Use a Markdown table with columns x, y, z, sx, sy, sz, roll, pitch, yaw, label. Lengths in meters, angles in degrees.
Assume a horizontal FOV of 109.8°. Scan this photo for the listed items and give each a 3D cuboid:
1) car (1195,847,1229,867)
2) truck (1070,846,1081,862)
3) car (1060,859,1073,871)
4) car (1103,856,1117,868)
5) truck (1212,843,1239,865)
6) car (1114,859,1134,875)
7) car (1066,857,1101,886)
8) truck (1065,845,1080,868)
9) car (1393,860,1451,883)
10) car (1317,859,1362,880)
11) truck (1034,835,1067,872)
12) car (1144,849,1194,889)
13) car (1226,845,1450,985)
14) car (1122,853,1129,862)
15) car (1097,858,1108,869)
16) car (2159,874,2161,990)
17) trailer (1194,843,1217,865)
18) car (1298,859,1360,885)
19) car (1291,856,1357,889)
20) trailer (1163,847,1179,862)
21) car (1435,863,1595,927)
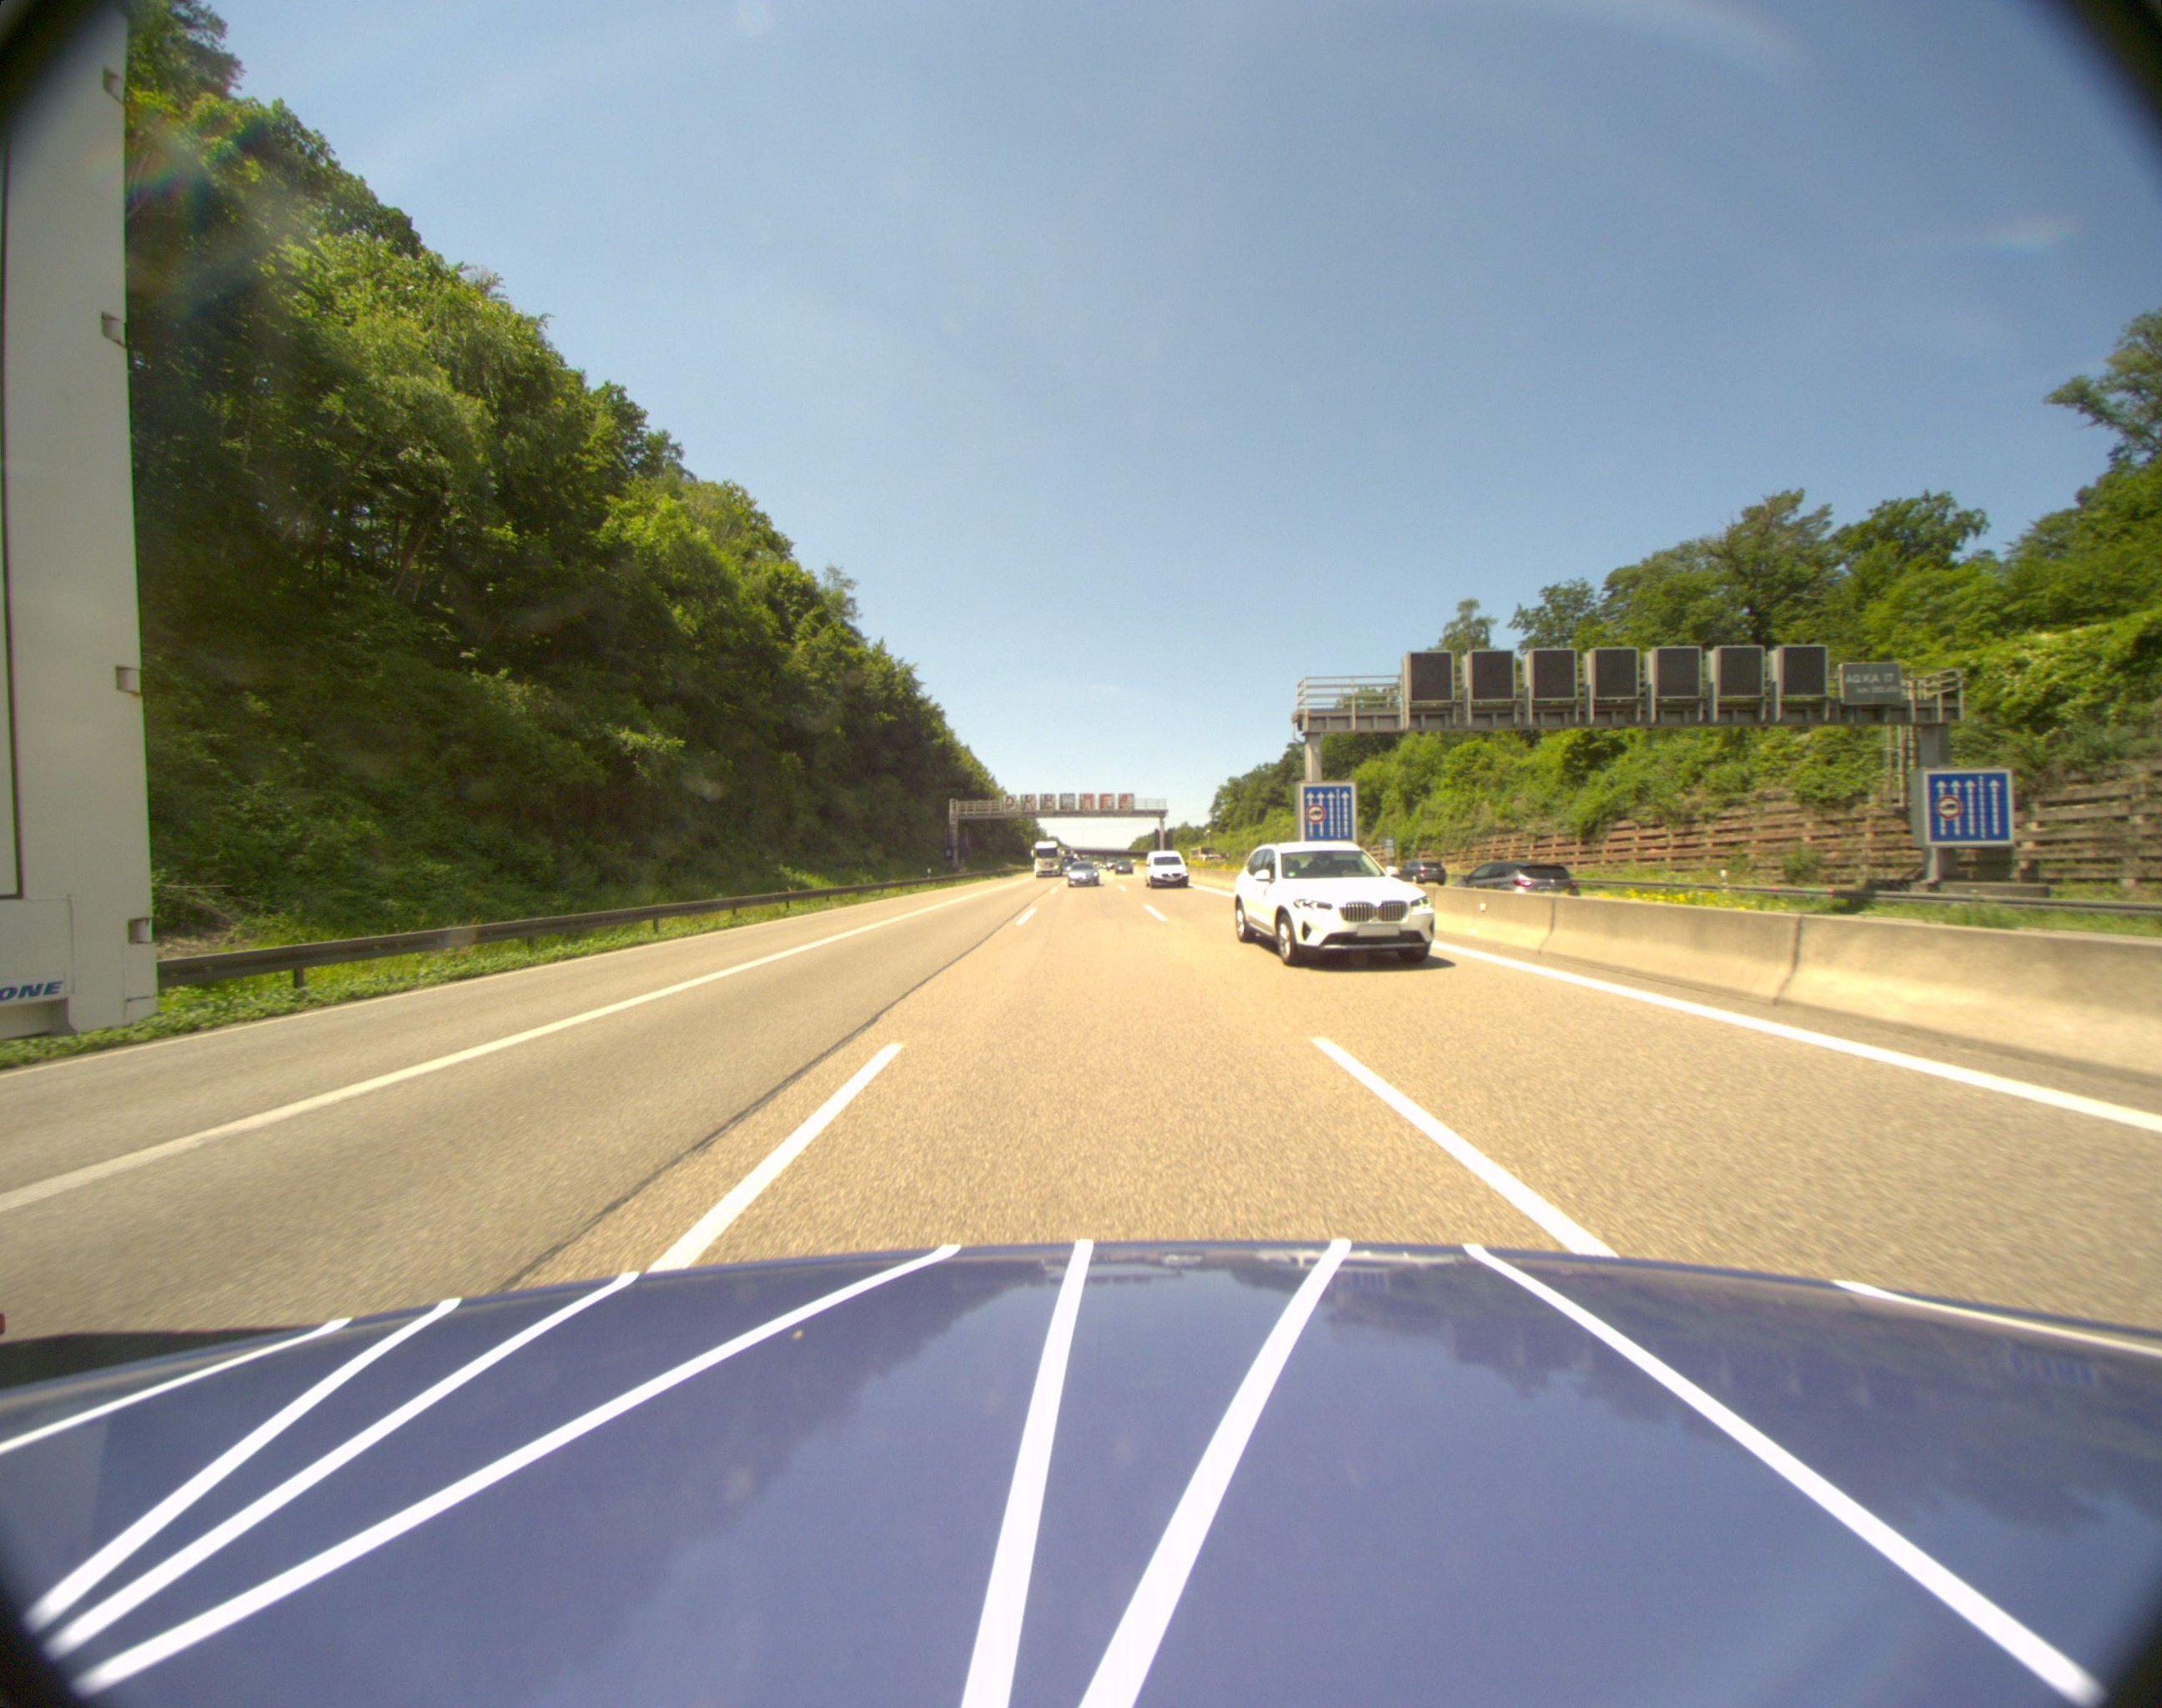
| x | y | z | sx | sy | sz | roll | pitch | yaw | label |
| --- | --- | --- | --- | --- | --- | --- | --- | --- | --- |
| 11.891 | 0.282 | 69.284 | 2.002 | 1.677 | 5.995 | 0 | 0 | -1 | car |
| -1.583 | 0.081 | 219.849 | 2.627 | 4.364 | 13.087 | -3 | 0 | 0 | truck |
| -2.115 | 1.558 | 110.153 | 1.770 | 1.504 | 4.000 | -3 | 0 | 0 | car |
| 3.938 | 1.093 | 103.660 | 1.770 | 1.504 | 4.000 | -3 | 0 | 0 | car |
| 20.574 | 0.012 | 108.479 | 2.586 | 2.975 | 7.062 | 0 | 0 | 0 | truck |
| 4.405 | 1.294 | 79.134 | 1.770 | 1.504 | 4.725 | -3 | 0 | 0 | car |
| 0.212 | 0.986 | 44.587 | 1.843 | 1.518 | 4.502 | -3 | 0 | 2 | car |
| -1.683 | 0.490 | 156.564 | 2.627 | 4.364 | 13.087 | -3 | 0 | 0 | truck |
| 22.471 | 1.121 | 50.288 | 1.903 | 1.486 | 4.477 | 0 | 0 | 1 | car |
| 18.918 | 1.109 | 55.882 | 1.903 | 1.517 | 4.373 | 0 | 0 | 1 | car |
| -3.177 | -0.022 | 82.985 | 2.844 | 3.518 | 13.087 | -3 | 0 | 0 | truck |
| 4.302 | 0.690 | 37.838 | 1.998 | 1.764 | 4.502 | -3 | 0 | 2 | car |
| 3.558 | 0.763 | 11.452 | 1.850 | 1.634 | 4.368 | -2 | 0 | 0 | car |
| 14.302 | 1.101 | 246.228 | 2.003 | 2.658 | 4.846 | 0 | 0 | 0 | car |
| 3.998 | 1.800 | 142.041 | 1.924 | 1.849 | 4.000 | -3 | 0 | 2 | car |
| 15.072 | 0.998 | 7.788 | 1.903 | 1.517 | 4.373 | 0 | 0 | 1 | car |
| 24.454 | -0.010 | 150.486 | 2.985 | 4.182 | 14.468 | 1 | 0 | 3 | trailer |
| 15.383 | 1.084 | 47.507 | 1.966 | 1.486 | 5.887 | 0 | 0 | -1 | car |
| 11.677 | 0.877 | 36.850 | 1.903 | 1.517 | 4.373 | 0 | 0 | 1 | car |
| 25.630 | 0.105 | 216.738 | 2.985 | 4.077 | 13.994 | 1 | 0 | 1 | trailer |
| 11.458 | 1.021 | 20.471 | 1.903 | 1.517 | 4.373 | 0 | 0 | 1 | car |
